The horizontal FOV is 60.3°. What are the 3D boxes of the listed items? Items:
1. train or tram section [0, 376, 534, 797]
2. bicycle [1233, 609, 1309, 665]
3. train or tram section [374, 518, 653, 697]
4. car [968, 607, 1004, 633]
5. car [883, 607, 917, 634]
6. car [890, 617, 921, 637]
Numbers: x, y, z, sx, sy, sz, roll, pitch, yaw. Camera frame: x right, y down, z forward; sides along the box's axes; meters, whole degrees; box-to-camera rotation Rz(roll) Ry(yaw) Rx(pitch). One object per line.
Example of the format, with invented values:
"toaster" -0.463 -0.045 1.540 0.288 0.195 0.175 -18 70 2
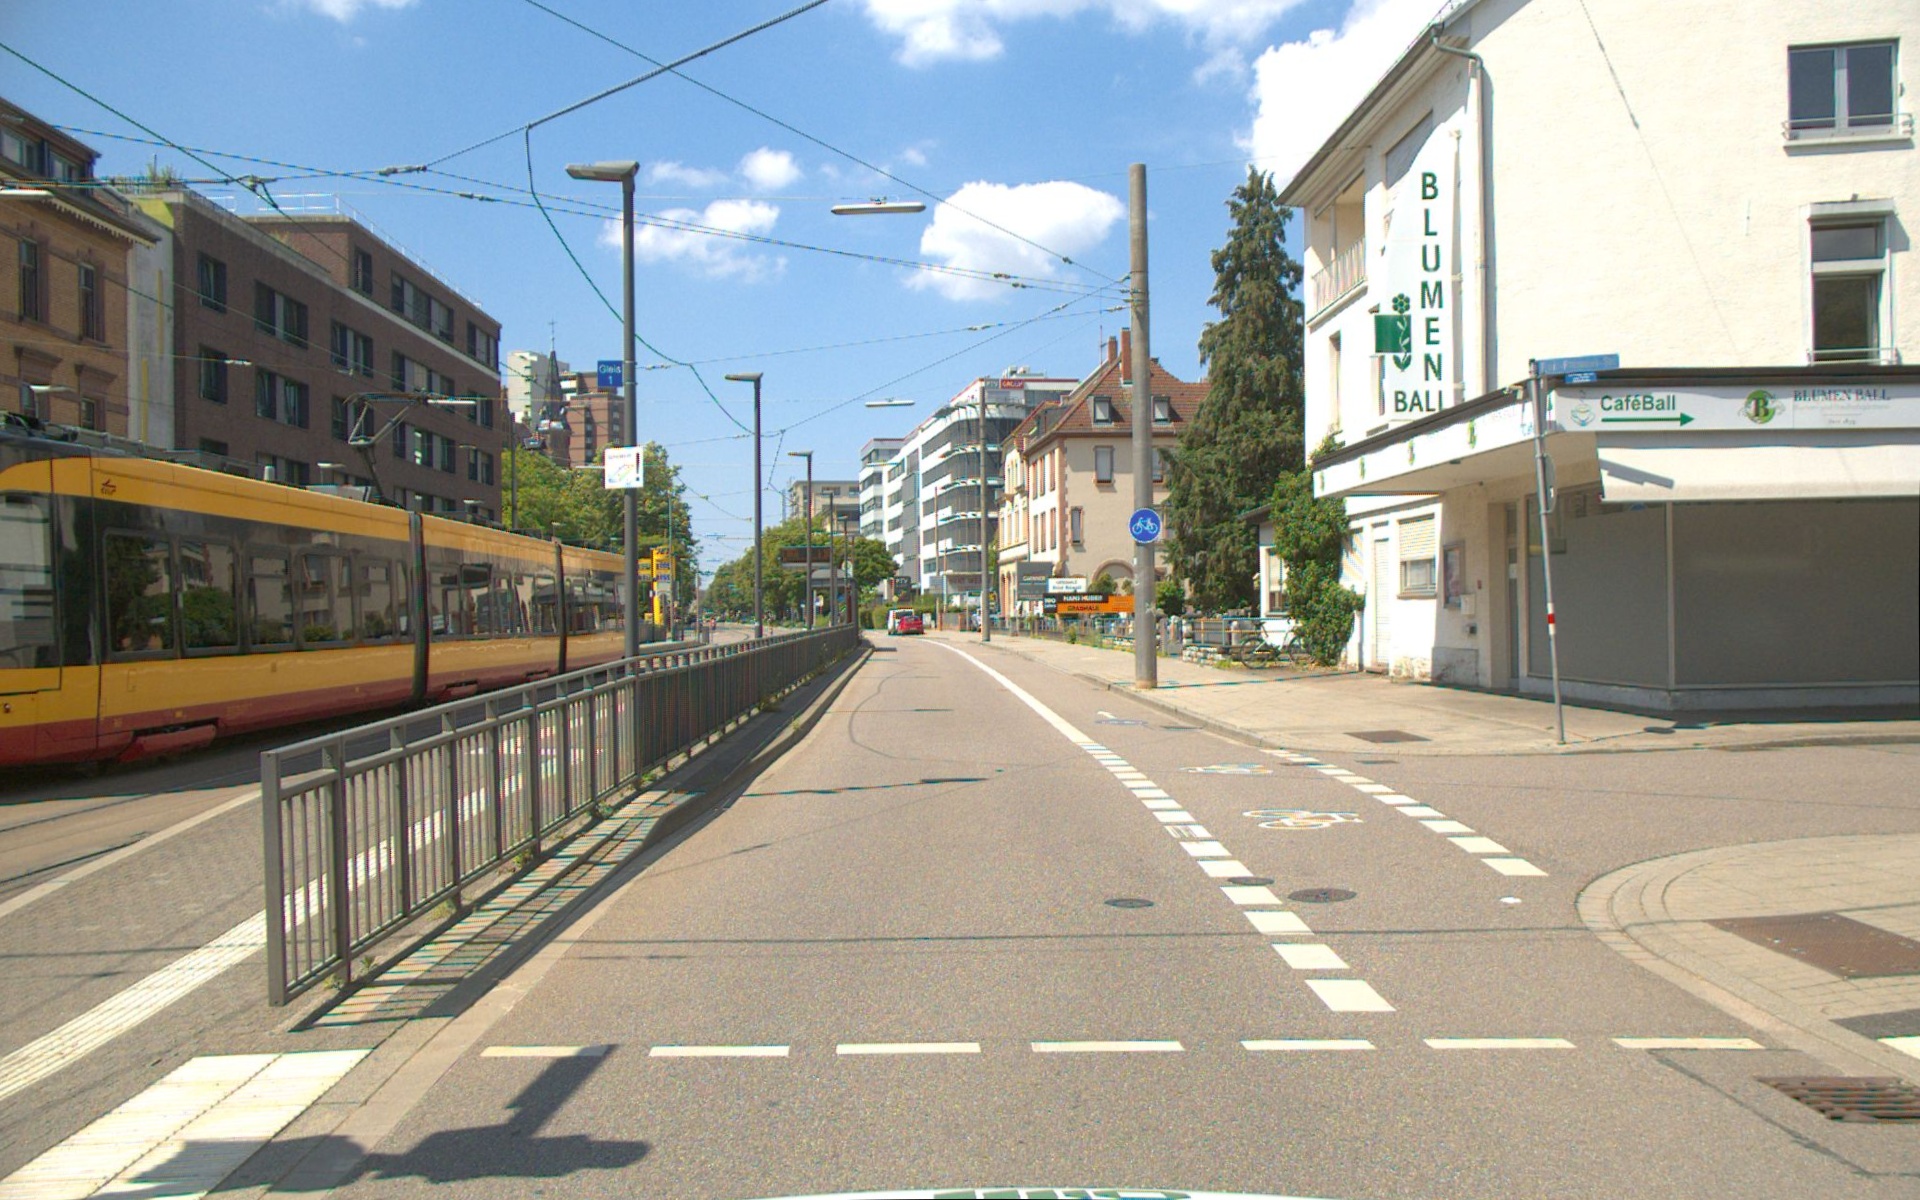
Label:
"train or tram section" -10.157 0.069 24.106 3.185 3.630 20.491 -1 -1 -2
"bicycle" 6.633 0.781 35.267 1.500 1.105 0.430 -3 -1 4
"train or tram section" -10.747 0.277 42.389 3.170 3.630 16.342 -1 -1 -2
"car" 1.814 1.387 116.202 1.842 1.652 4.632 -4 0 -7
"car" -4.829 1.629 132.164 1.957 2.026 5.502 -3 0 -9
"car" -4.147 2.043 125.411 1.956 1.467 4.010 -1 -1 -8
